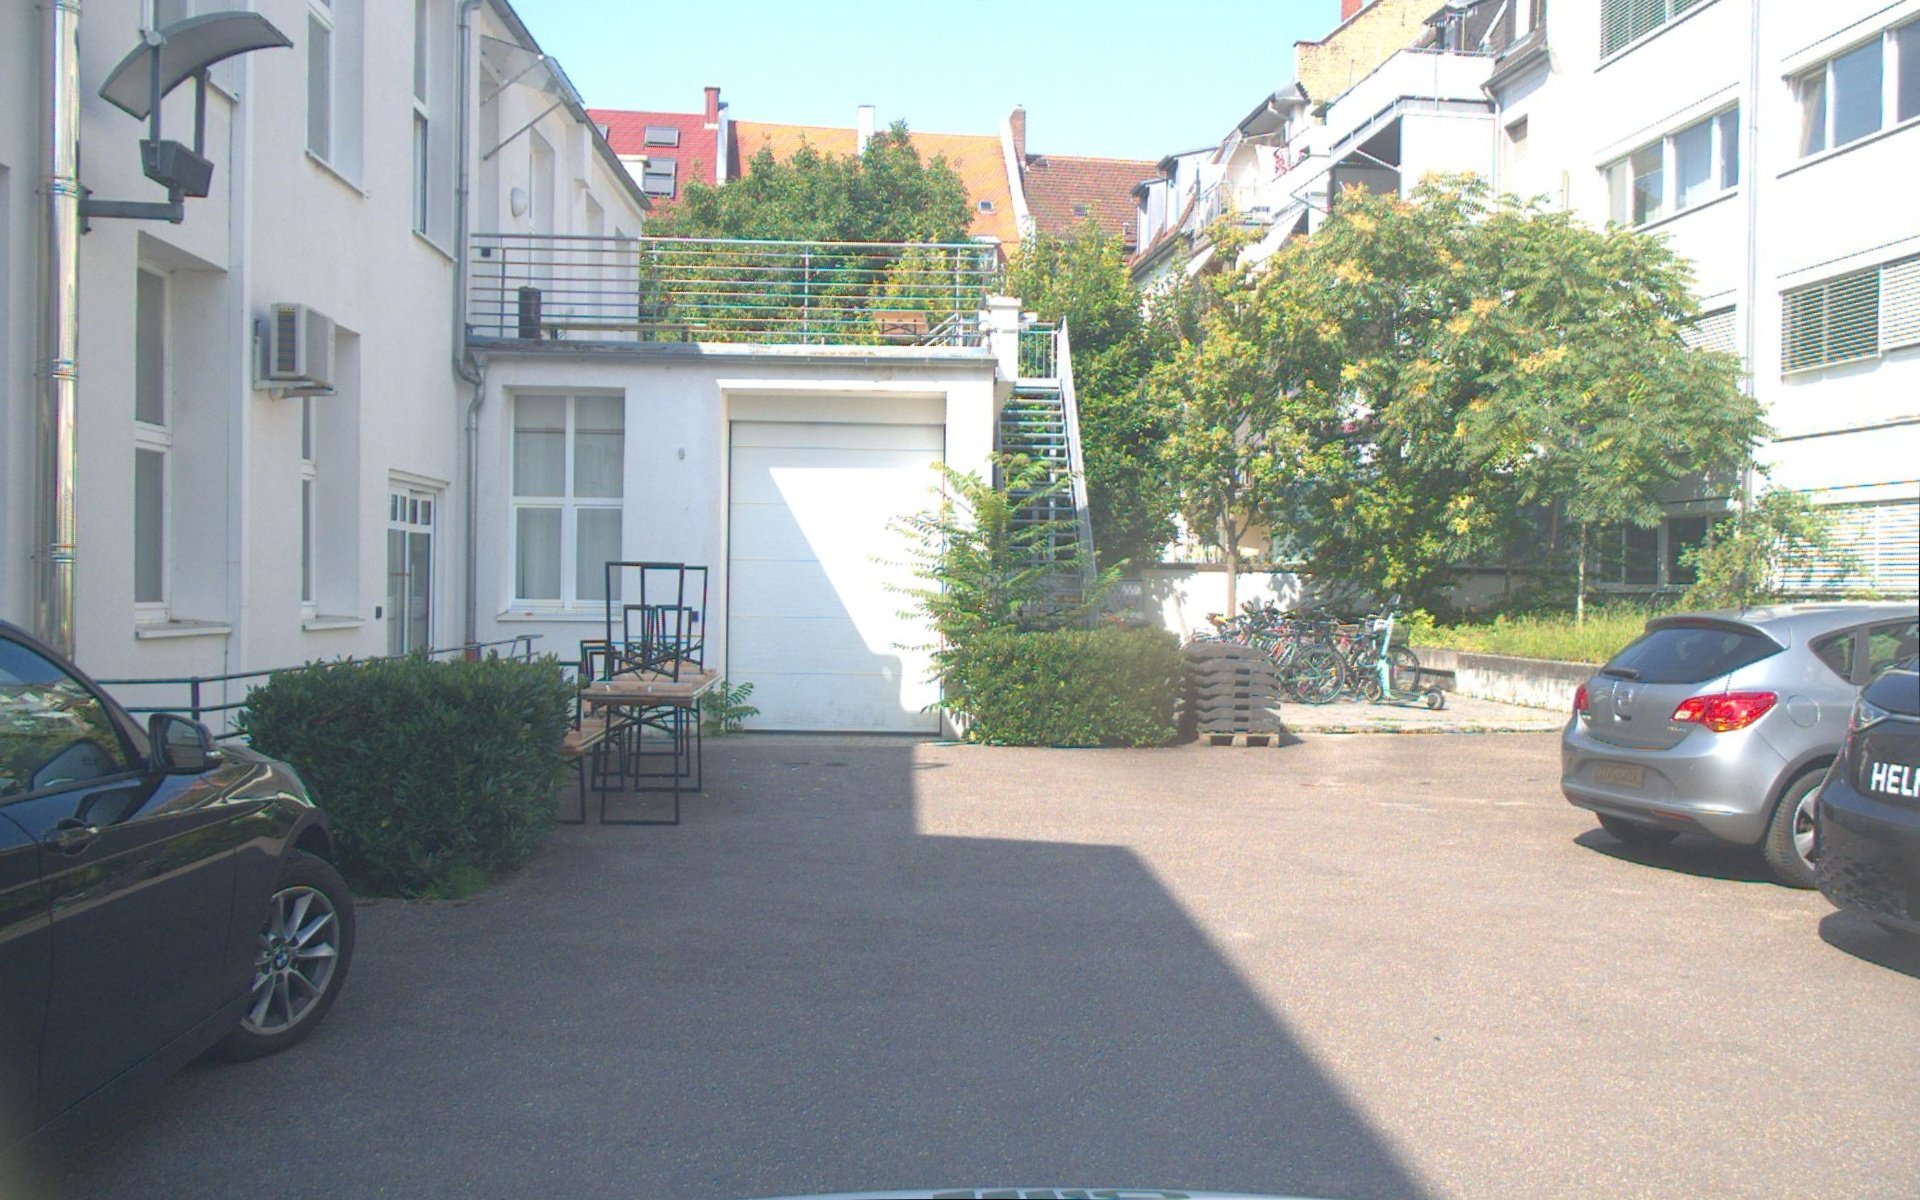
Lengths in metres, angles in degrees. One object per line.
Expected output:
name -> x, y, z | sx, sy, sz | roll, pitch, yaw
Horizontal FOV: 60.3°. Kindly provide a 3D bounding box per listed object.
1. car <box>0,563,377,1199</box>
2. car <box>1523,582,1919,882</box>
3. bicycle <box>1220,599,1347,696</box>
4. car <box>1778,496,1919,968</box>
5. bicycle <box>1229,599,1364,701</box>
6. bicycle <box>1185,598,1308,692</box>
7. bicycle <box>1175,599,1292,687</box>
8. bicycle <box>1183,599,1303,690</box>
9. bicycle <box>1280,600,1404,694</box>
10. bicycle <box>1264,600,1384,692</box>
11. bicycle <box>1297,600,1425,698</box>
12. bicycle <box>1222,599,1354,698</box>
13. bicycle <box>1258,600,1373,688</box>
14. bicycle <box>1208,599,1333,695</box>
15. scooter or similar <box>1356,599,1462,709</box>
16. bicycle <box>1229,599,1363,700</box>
car -> -2.591, 0.661, 3.273 | 1.655, 1.484, 3.920 | 1, 0, -3
car -> 5.486, 0.674, 9.590 | 3.862, 1.508, 1.770 | 0, 0, -11
bicycle -> 4.152, 0.605, 21.304 | 1.588, 1.235, 0.327 | 0, 0, 8
car -> 5.902, 0.518, 6.719 | 4.420, 1.826, 1.878 | 0, -1, -11
bicycle -> 4.114, 0.604, 20.236 | 1.590, 1.235, 0.327 | 0, 0, -1
bicycle -> 3.860, 0.601, 22.335 | 1.590, 1.235, 0.424 | 0, 0, -3
bicycle -> 3.900, 0.602, 23.573 | 1.592, 1.235, 0.423 | 0, 0, -7
bicycle -> 3.923, 0.603, 22.972 | 1.592, 1.235, 0.423 | 0, 0, -8
bicycle -> 5.089, 0.623, 22.098 | 1.588, 1.235, 0.424 | 0, 0, 11
bicycle -> 4.976, 0.621, 22.670 | 1.588, 1.235, 0.424 | 0, 0, 10
bicycle -> 5.139, 0.623, 21.238 | 1.588, 1.235, 0.327 | 0, 0, 13
bicycle -> 4.131, 0.605, 20.852 | 1.590, 1.235, 0.327 | 0, 0, -1
bicycle -> 5.085, 0.623, 23.700 | 1.588, 1.235, 0.424 | 0, 0, 10
bicycle -> 4.065, 0.604, 21.665 | 1.588, 1.235, 0.327 | 0, 0, 11
scooter or similar -> 5.425, 0.633, 20.037 | 0.375, 1.283, 1.333 | 0, 0, -33
bicycle -> 4.169, 0.605, 20.559 | 1.590, 1.235, 0.327 | 0, 0, -1
